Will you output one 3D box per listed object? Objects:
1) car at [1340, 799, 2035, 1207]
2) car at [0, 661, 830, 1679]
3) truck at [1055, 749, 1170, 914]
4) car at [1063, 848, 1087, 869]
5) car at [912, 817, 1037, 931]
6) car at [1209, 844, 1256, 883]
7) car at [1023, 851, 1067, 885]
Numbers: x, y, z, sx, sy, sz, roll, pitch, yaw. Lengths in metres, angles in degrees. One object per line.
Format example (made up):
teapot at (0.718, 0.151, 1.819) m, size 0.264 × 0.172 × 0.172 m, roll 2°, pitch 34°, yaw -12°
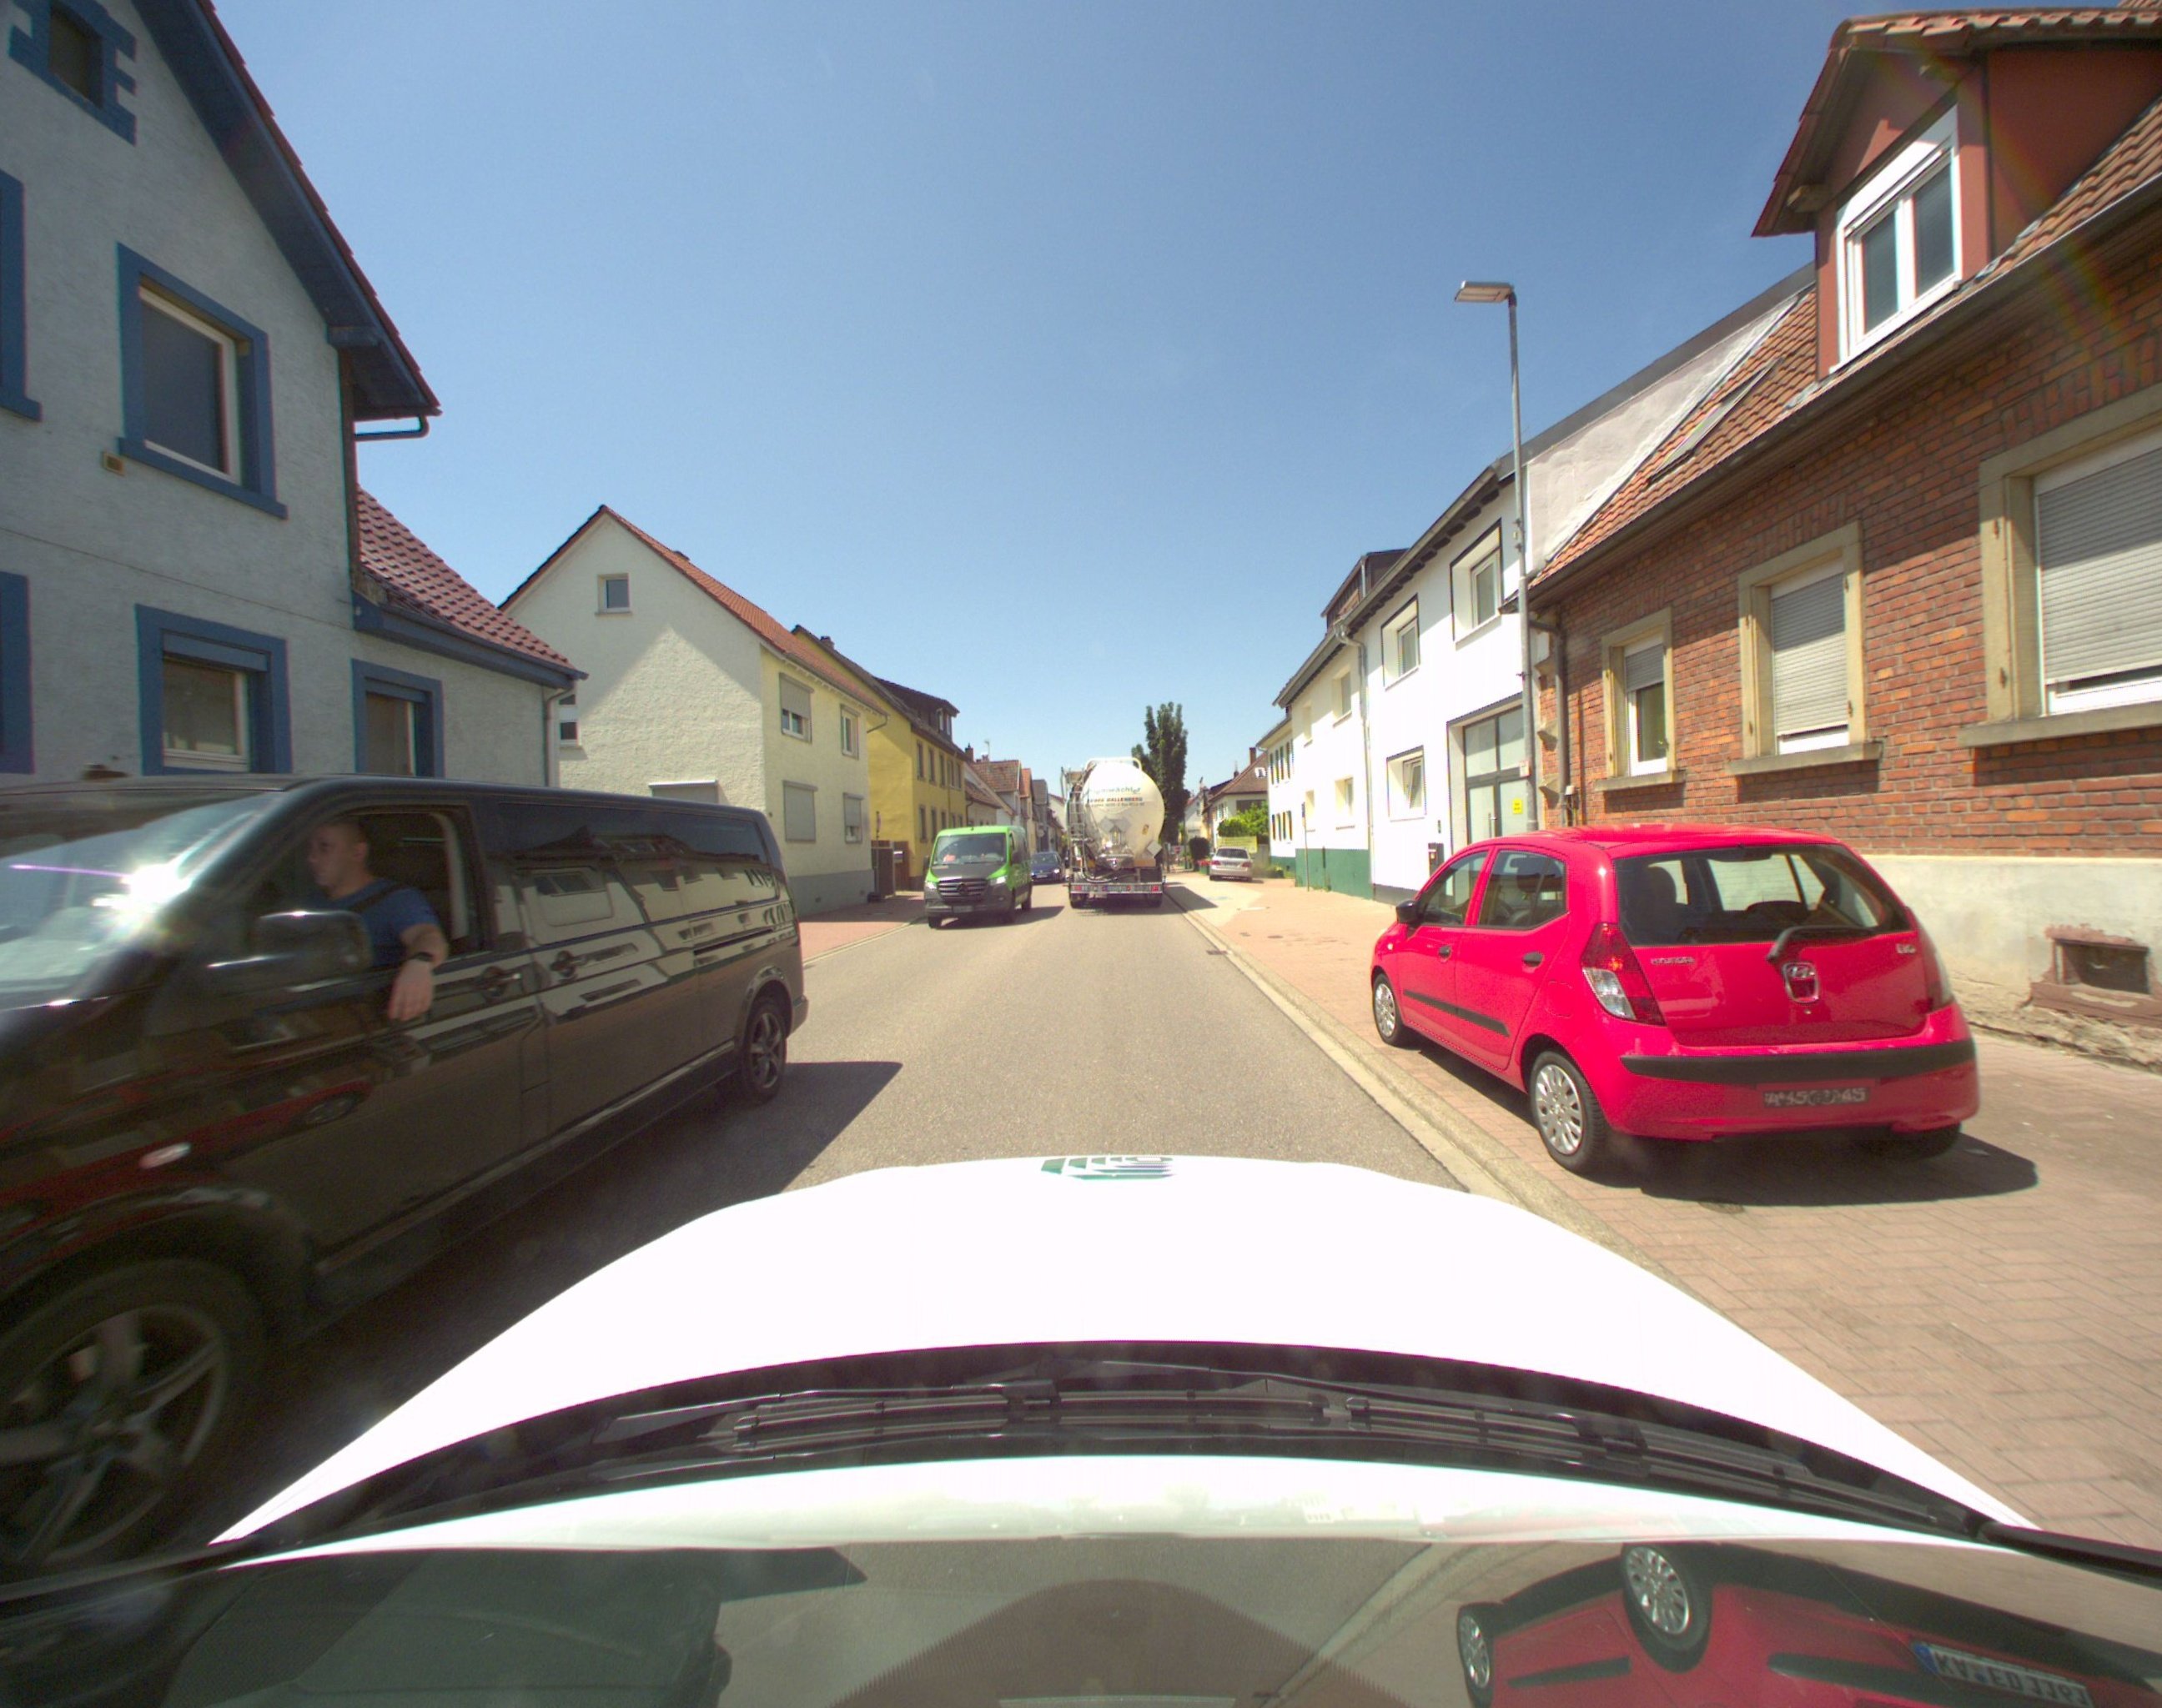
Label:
car at (2.952, 0.577, 5.028) m, size 1.604 × 1.528 × 3.679 m, roll -3°, pitch 0°, yaw 2°
car at (-2.965, 0.632, 3.616) m, size 1.874 × 1.943 × 5.120 m, roll -3°, pitch 0°, yaw 2°
truck at (0.853, -0.523, 23.746) m, size 2.723 × 3.960 × 8.143 m, roll -1°, pitch 0°, yaw 1°
car at (-0.481, 0.371, 70.037) m, size 1.832 × 1.669 × 4.326 m, roll -3°, pitch 0°, yaw 2°
car at (-2.467, 0.413, 20.665) m, size 2.043 × 2.353 × 6.085 m, roll -3°, pitch 0°, yaw 2°
car at (6.616, 0.359, 35.510) m, size 1.803 × 1.462 × 4.900 m, roll 2°, pitch 1°, yaw 11°
car at (-1.744, 0.662, 40.714) m, size 1.758 × 1.536 × 4.080 m, roll -3°, pitch 0°, yaw 2°
